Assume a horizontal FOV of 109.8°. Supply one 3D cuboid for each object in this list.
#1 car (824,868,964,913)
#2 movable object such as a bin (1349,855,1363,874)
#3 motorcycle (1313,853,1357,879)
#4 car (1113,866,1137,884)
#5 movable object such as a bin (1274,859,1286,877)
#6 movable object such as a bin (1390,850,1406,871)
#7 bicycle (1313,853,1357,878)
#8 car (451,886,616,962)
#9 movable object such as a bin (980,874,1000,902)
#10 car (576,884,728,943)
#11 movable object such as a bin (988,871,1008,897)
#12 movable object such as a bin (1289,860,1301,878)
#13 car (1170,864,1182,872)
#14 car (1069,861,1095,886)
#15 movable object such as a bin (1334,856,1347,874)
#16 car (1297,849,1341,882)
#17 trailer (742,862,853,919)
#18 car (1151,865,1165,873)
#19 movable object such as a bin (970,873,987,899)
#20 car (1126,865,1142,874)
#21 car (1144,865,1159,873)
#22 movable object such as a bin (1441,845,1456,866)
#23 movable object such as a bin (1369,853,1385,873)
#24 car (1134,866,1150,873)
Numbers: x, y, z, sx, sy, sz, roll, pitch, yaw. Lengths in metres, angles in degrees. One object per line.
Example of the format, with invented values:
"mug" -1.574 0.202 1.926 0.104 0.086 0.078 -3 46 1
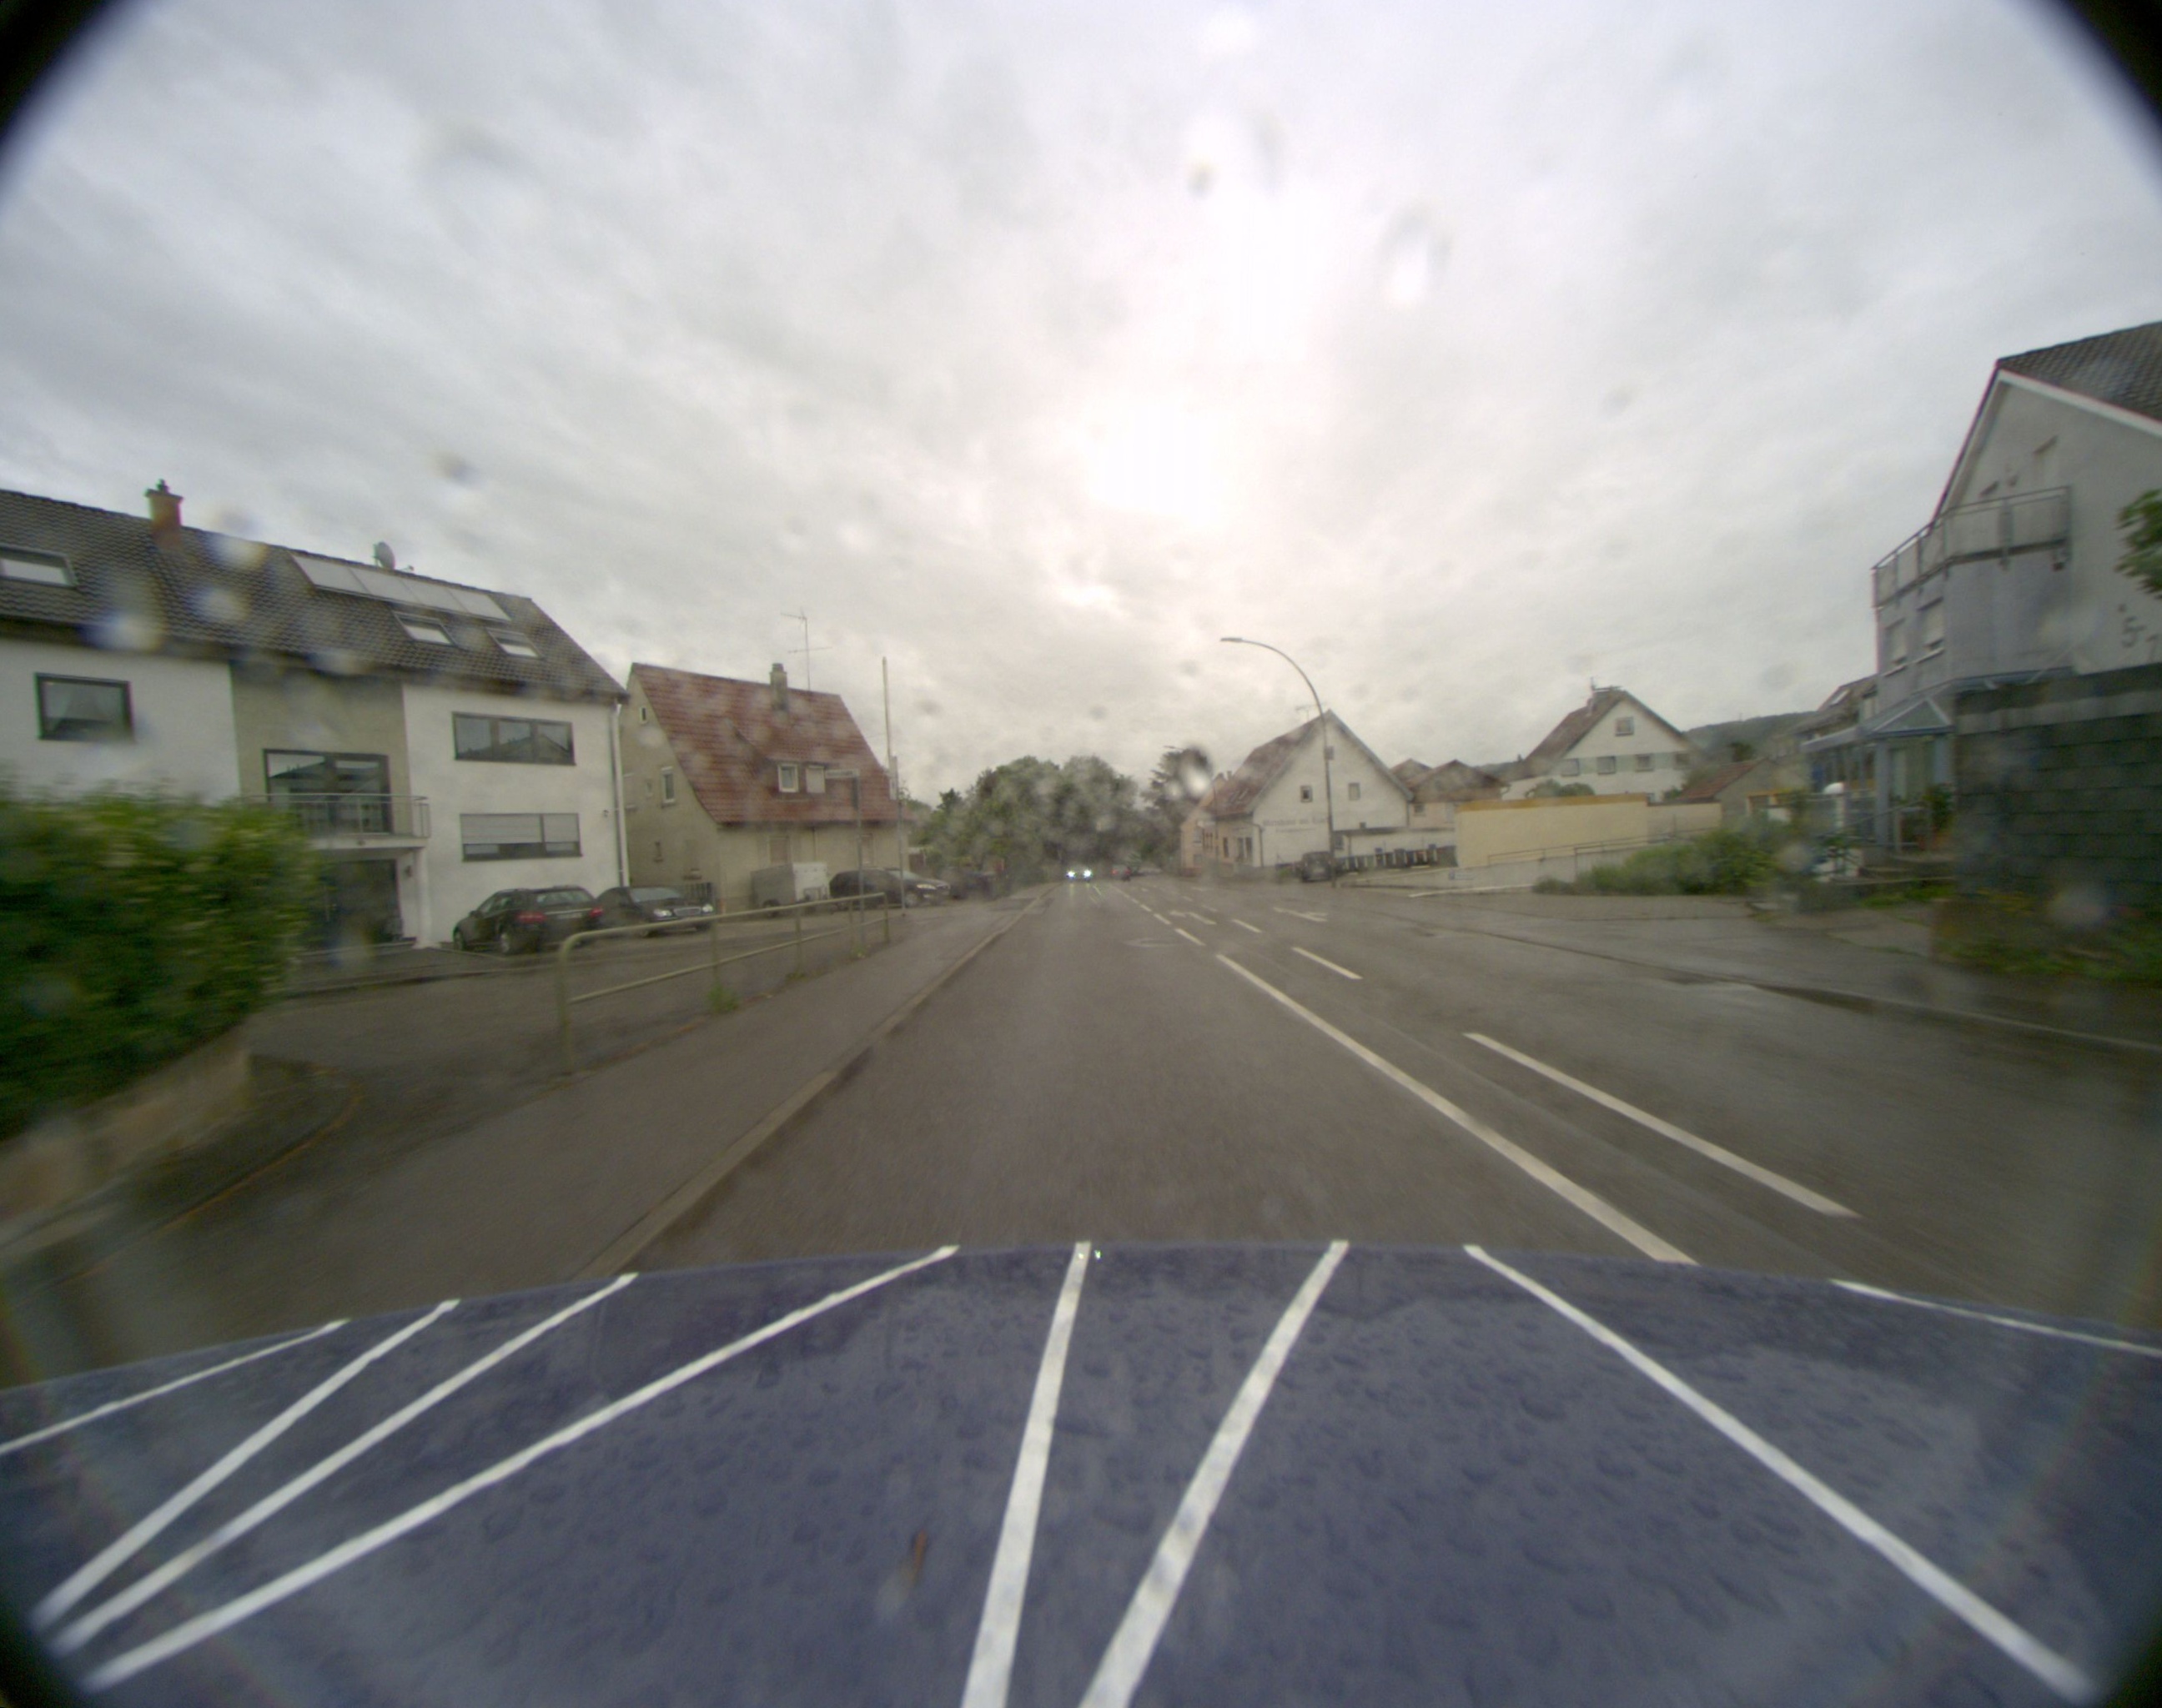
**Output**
"car" -6.827 1.331 27.856 4.563 1.375 2.003 -4 -1 19
"movable object such as a bin" 15.290 0.575 42.267 0.639 1.026 0.605 -1 0 14
"motorcycle" 13.360 0.637 40.019 2.113 1.107 0.781 -6 0 17
"car" 3.944 1.875 68.288 1.949 1.564 4.227 -1 -1 1
"movable object such as a bin" 11.361 0.799 43.354 0.639 1.026 0.674 -1 0 14
"movable object such as a bin" 17.334 0.364 41.535 0.639 1.123 0.605 -5 -1 14
"bicycle" 13.590 0.619 40.736 2.100 1.107 0.738 -5 1 17
"car" -13.244 1.632 18.326 3.989 1.456 1.875 -3 3 35
"movable object such as a bin" -3.484 1.294 29.030 0.628 1.015 0.541 -1 0 5
"car" -11.673 1.588 20.601 4.389 1.316 1.788 -3 1 35
"movable object such as a bin" -3.340 1.199 30.531 0.530 1.015 0.734 -1 0 19
"movable object such as a bin" 12.141 0.846 43.125 0.639 1.026 0.605 -1 0 14
"car" 20.516 3.004 164.272 1.831 1.620 4.160 -1 -1 20
"car" 0.145 1.624 65.339 1.998 2.002 4.001 -2 0 3
"movable object such as a bin" 14.491 0.604 42.466 0.639 1.026 0.605 -1 0 14
"car" 11.886 0.563 37.781 1.904 1.433 3.834 -4 -2 19
"trailer" -9.884 1.264 26.468 3.454 1.788 1.691 -3 1 29
"car" 15.352 2.993 151.423 1.761 1.410 4.160 -1 -1 19
"movable object such as a bin" -4.109 1.263 30.407 0.443 1.015 0.525 -1 0 22
"car" 9.521 2.732 135.743 1.791 1.523 3.806 -1 -1 20
"car" 13.563 2.920 146.388 1.761 1.410 4.160 -1 -1 21
"movable object such as a bin" 19.072 0.095 39.415 0.670 1.072 0.625 -1 0 23
"movable object such as a bin" 16.279 0.506 41.805 0.639 1.026 0.605 -6 -1 13
"car" 11.348 2.855 141.046 1.995 1.410 4.492 -1 -1 20
